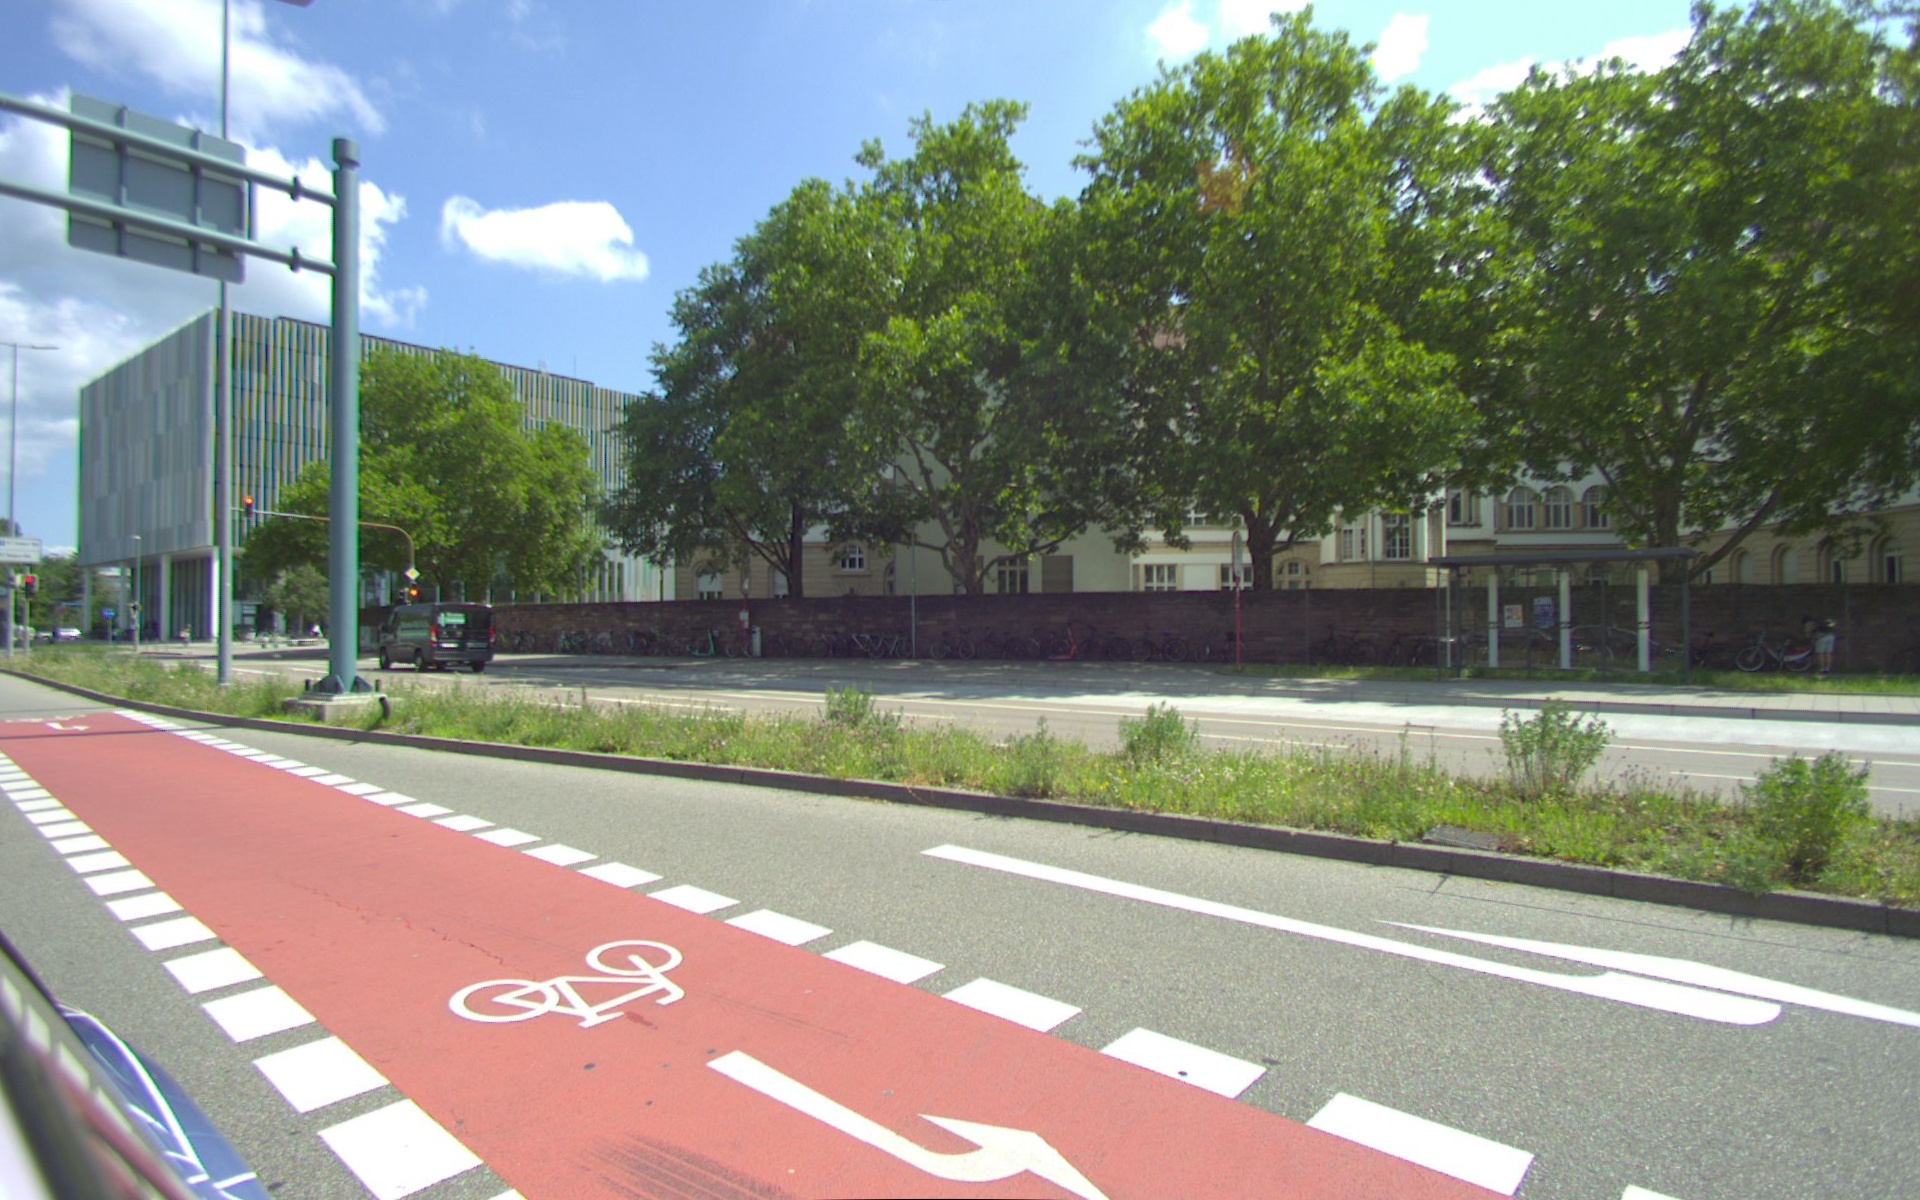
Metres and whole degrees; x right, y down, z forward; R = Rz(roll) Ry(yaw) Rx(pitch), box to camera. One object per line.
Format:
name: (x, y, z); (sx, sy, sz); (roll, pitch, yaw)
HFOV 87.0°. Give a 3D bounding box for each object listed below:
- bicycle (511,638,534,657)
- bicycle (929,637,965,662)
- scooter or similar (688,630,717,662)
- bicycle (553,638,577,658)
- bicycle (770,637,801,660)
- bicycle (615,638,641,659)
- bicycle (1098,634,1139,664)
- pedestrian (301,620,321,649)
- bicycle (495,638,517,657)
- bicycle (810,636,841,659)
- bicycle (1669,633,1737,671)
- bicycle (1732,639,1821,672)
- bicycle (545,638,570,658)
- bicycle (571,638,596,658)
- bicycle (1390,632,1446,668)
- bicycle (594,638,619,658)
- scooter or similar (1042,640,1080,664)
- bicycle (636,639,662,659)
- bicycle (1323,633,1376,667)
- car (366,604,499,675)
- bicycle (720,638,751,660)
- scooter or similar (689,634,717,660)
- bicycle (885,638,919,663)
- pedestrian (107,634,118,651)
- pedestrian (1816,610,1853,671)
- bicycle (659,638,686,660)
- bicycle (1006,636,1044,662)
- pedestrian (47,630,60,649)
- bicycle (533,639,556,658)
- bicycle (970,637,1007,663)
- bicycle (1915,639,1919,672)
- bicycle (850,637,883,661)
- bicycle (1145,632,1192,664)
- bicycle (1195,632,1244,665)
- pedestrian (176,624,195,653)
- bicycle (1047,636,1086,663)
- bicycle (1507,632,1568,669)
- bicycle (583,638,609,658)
bicycle: (-19.978, 2.163, 46.201); (1.230, 0.837, 0.262); (-1, -2, 29)
bicycle: (-0.440, 1.670, 34.275); (1.230, 0.837, 0.262); (-1, -2, 28)
scooter or similar: (-9.884, 1.754, 38.829); (1.230, 1.199, 0.262); (-1, -2, 29)
bicycle: (-17.412, 2.107, 44.562); (1.230, 0.837, 0.262); (-1, -2, 29)
bicycle: (-6.475, 1.806, 37.569); (1.231, 0.837, 0.262); (-1, -2, 30)
bicycle: (-13.853, 2.022, 42.184); (1.231, 0.837, 0.262); (-1, -2, 30)
bicycle: (4.953, 1.520, 31.626); (1.230, 0.915, 0.262); (-1, -2, 28)
pedestrian: (-44.933, 2.397, 70.093); (0.864, 2.029, 0.981); (-2, -2, 41)
bicycle: (-21.077, 2.208, 46.980); (1.231, 0.837, 0.262); (-1, -2, 30)
bicycle: (-4.895, 1.721, 36.861); (1.231, 0.837, 0.262); (-1, -2, 30)
bicycle: (19.227, 1.344, 26.199); (1.384, 0.972, 0.263); (-1, -2, 18)
bicycle: (20.739, 1.404, 25.725); (1.734, 0.823, 0.327); (-1, -2, 18)
bicycle: (-17.487, 2.091, 43.969); (1.230, 0.837, 0.262); (-1, -2, 29)
bicycle: (-16.273, 2.078, 43.728); (1.231, 0.837, 0.262); (-1, -2, 30)
bicycle: (12.858, 1.403, 28.423); (1.384, 0.972, 0.263); (-1, -2, 18)
bicycle: (-14.989, 2.012, 42.883); (1.231, 0.837, 0.262); (-1, -2, 30)
scooter or similar: (3.173, 1.626, 31.811); (1.133, 0.734, 0.264); (-1, -2, 18)
bicycle: (-12.737, 2.003, 41.488); (1.231, 0.837, 0.262); (-1, -2, 30)
bicycle: (11.173, 1.425, 29.036); (1.384, 0.972, 0.263); (-1, -2, 18)
car: (-17.550, 1.335, 33.599); (5.014, 2.192, 2.126); (-2, -4, 40)
bicycle: (-8.652, 1.882, 38.953); (1.226, 0.837, 0.263); (-1, -2, 19)
scooter or similar: (-10.150, 1.847, 39.922); (1.133, 1.028, 0.264); (-1, -2, 19)
bicycle: (-2.021, 1.748, 35.120); (1.231, 0.837, 0.262); (-1, -2, 30)
pedestrian: (-73.323, 3.701, 87.598); (0.686, 1.464, 0.690); (1, -2, -43)
pedestrian: (21.485, 0.988, 24.864); (0.633, 1.484, 0.504); (-2, -2, 39)
bicycle: (-11.547, 1.963, 40.585); (1.231, 0.837, 0.262); (-1, -2, 30)
bicycle: (2.127, 1.607, 33.072); (1.230, 0.837, 0.262); (-1, -2, 28)
pedestrian: (-81.474, 3.580, 90.993); (0.705, 1.704, 0.783); (-2, -2, 42)
bicycle: (-18.601, 2.158, 45.312); (1.230, 0.837, 0.262); (-1, -2, 29)
bicycle: (0.955, 1.660, 33.722); (1.230, 0.837, 0.262); (-1, -2, 28)
bicycle: (24.435, 1.356, 24.606); (1.734, 0.823, 0.382); (-1, -2, 18)
bicycle: (-3.325, 1.751, 35.919); (1.231, 0.837, 0.262); (-1, -2, 30)
bicycle: (6.394, 1.474, 31.040); (1.385, 0.972, 0.263); (-1, -2, 20)
bicycle: (7.801, 1.467, 30.420); (1.389, 0.972, 0.262); (-1, -2, 28)
pedestrian: (-56.355, 2.793, 73.620); (0.994, 2.029, 0.853); (-2, -2, 39)
bicycle: (3.403, 1.591, 32.461); (1.230, 0.837, 0.262); (-1, -2, 28)
bicycle: (15.625, 1.367, 27.392); (1.384, 0.972, 0.263); (-1, -2, 18)
bicycle: (-15.322, 2.001, 42.585); (1.230, 0.837, 0.262); (-1, -2, 29)
